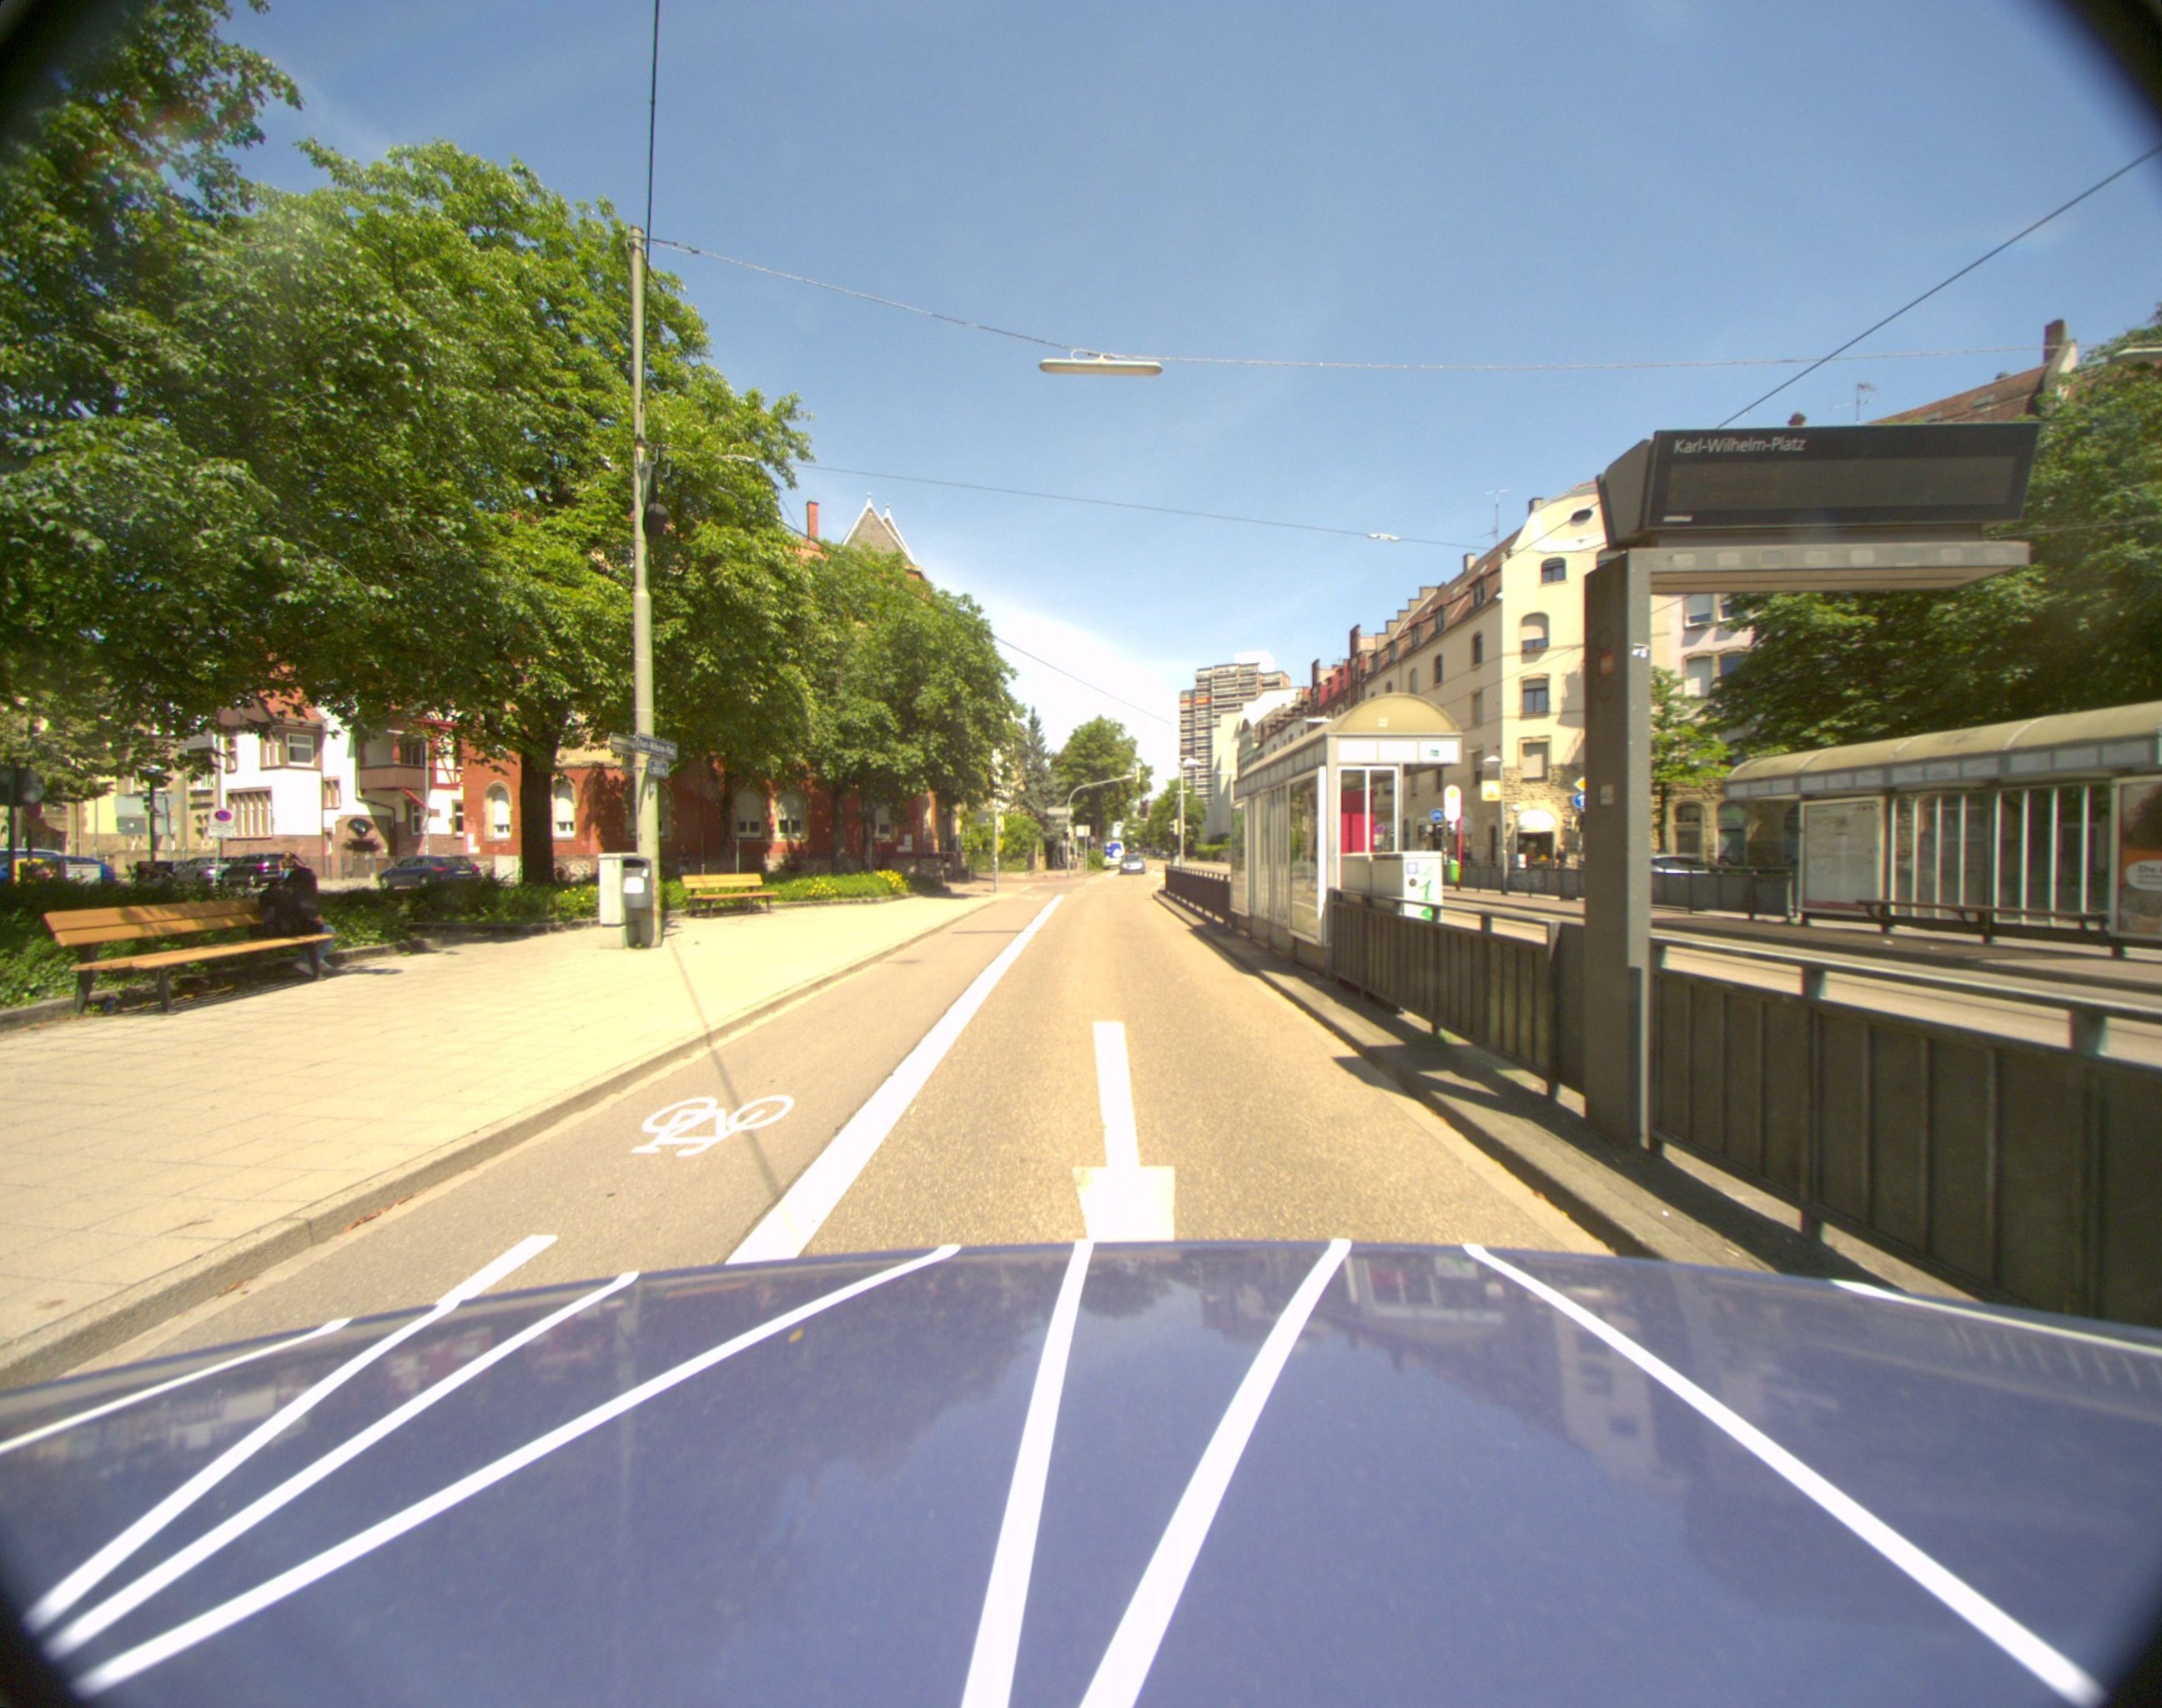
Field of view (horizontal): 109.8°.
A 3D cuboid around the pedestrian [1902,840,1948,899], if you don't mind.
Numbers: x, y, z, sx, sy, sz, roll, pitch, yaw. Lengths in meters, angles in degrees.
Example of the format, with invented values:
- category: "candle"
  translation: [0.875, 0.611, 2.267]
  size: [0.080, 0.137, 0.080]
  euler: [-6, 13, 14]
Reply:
- category: "pedestrian"
  translation: [20.732, 0.382, 18.670]
  size: [0.537, 1.433, 0.520]
  euler: [0, 1, -9]

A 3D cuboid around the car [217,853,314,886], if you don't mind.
- category: "car"
  translation: [-40.097, 0.730, 37.368]
  size: [4.235, 1.554, 1.706]
  euler: [0, 1, 20]

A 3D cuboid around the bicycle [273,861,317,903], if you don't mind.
- category: "bicycle"
  translation: [-25.391, 0.880, 24.528]
  size: [1.925, 1.285, 0.641]
  euler: [0, 1, 34]

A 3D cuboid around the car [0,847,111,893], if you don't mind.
- category: "car"
  translation: [-37.483, 0.548, 26.417]
  size: [1.641, 1.554, 4.326]
  euler: [0, 0, 22]

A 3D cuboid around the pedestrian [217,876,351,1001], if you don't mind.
- category: "pedestrian"
  translation: [-7.839, 0.804, 7.507]
  size: [0.652, 1.143, 0.642]
  euler: [-1, 1, -15]

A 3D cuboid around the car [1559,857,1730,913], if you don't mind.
- category: "car"
  translation: [14.679, 0.751, 20.093]
  size: [1.697, 1.302, 3.848]
  euler: [0, 0, 1]

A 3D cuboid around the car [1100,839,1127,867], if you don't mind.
- category: "car"
  translation: [3.003, -0.134, 70.722]
  size: [2.237, 2.478, 5.265]
  euler: [0, 1, -1]

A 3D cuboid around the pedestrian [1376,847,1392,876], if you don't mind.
- category: "pedestrian"
  translation: [17.893, 0.430, 44.942]
  size: [0.808, 1.710, 0.764]
  euler: [0, 1, 17]

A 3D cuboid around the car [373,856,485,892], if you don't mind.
- category: "car"
  translation: [-27.462, 0.820, 32.021]
  size: [4.309, 1.444, 1.647]
  euler: [0, 1, 20]

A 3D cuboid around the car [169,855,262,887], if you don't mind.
- category: "car"
  translation: [-44.660, 0.853, 39.197]
  size: [4.235, 1.554, 1.706]
  euler: [0, 1, 20]

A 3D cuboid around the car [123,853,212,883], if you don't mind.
- category: "car"
  translation: [-49.576, 0.743, 41.236]
  size: [4.235, 1.554, 1.706]
  euler: [0, 1, 20]

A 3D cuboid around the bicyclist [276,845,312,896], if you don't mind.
- category: "bicyclist"
  translation: [-25.394, 0.524, 24.528]
  size: [0.860, 1.614, 0.641]
  euler: [0, 1, 34]

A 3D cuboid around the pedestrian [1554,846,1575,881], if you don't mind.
- category: "pedestrian"
  translation: [19.989, 0.403, 31.415]
  size: [0.537, 1.433, 0.520]
  euler: [0, 1, -8]

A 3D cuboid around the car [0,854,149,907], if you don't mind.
- category: "car"
  translation: [-32.956, 0.806, 23.874]
  size: [1.641, 1.554, 4.326]
  euler: [0, 1, 22]

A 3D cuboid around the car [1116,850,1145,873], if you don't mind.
- category: "car"
  translation: [3.433, 0.522, 53.443]
  size: [1.737, 1.543, 4.423]
  euler: [0, 0, -1]
